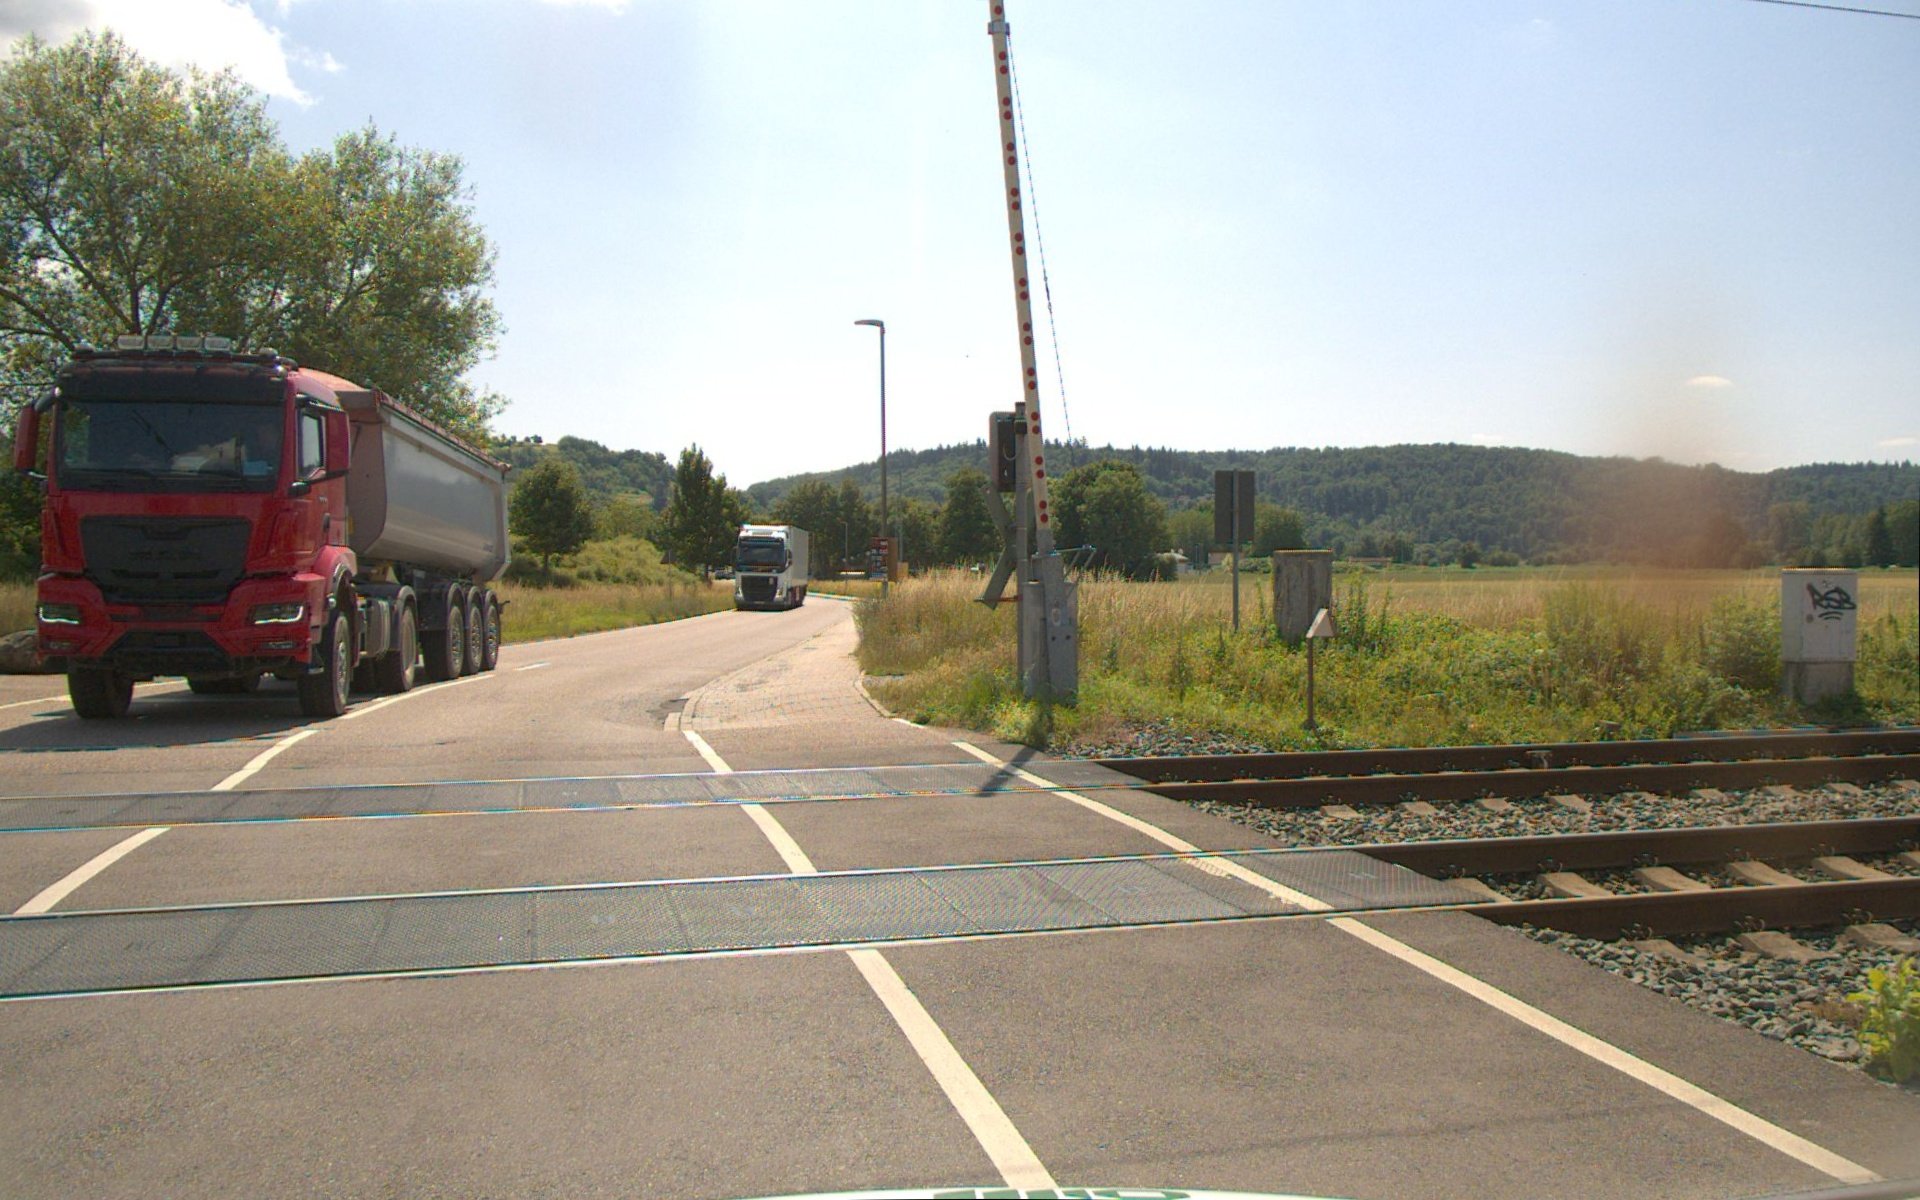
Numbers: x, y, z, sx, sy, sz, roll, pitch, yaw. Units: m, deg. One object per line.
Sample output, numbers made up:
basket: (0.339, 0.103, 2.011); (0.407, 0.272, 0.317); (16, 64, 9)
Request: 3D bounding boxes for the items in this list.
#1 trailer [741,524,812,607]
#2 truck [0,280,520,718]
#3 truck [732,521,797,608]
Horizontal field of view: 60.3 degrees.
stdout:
trailer: (-9.532, -1.793, 87.011); (2.531, 4.017, 13.056); (0, 1, -1)
truck: (-7.878, -0.964, 20.565); (2.817, 3.810, 12.133); (0, 1, -6)
truck: (-9.377, -1.701, 79.924); (2.519, 4.017, 6.038); (0, 1, -1)
